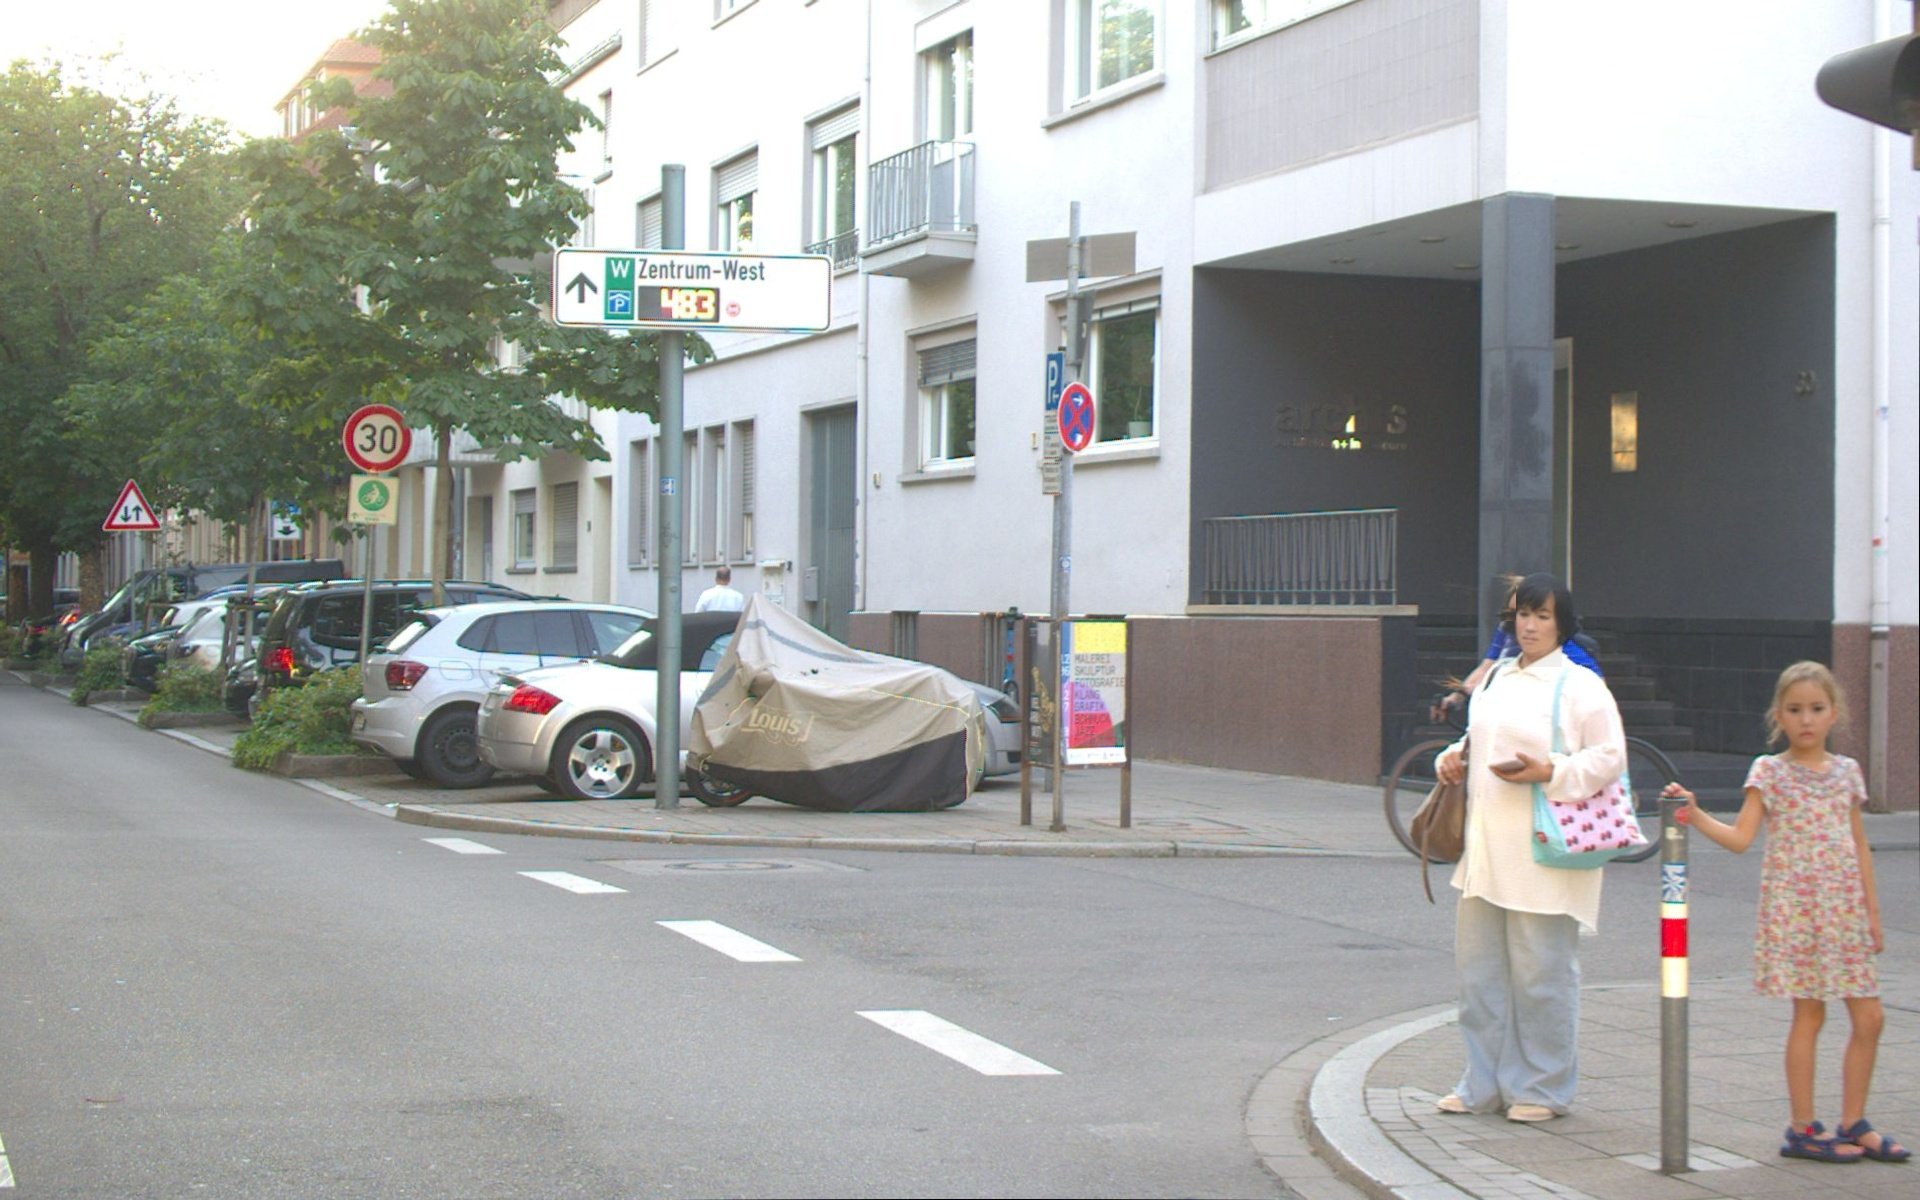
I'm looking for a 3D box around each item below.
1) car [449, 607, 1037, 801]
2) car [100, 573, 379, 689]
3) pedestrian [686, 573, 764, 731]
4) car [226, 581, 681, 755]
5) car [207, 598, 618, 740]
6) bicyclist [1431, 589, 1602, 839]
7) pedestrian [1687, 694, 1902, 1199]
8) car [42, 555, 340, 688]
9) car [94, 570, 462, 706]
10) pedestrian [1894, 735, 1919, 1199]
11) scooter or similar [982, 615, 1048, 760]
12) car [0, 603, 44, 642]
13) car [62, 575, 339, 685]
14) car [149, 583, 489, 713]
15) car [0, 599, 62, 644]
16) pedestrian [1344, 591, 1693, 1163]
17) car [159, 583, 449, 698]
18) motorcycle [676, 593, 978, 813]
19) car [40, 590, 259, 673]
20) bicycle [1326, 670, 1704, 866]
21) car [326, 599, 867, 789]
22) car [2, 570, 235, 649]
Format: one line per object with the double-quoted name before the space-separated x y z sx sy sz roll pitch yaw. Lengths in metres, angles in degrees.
"car" -1.612 0.735 25.037 3.986 1.328 1.794 1 0 -15
"car" -11.203 0.462 53.401 3.964 1.573 1.852 -3 1 -19
"pedestrian" -2.704 0.593 39.479 0.697 1.789 0.881 0 0 -18
"car" -4.951 0.653 33.452 4.108 1.612 1.961 1 0 -18
"car" -6.182 0.747 38.746 4.314 1.491 1.794 -1 0 -19
"bicyclist" 3.125 0.641 19.340 0.774 1.359 0.674 2 -2 -5
"pedestrian" 2.137 0.882 8.832 0.488 1.257 0.451 -1 0 11
"car" -13.131 0.346 58.691 4.688 2.004 2.038 -3 1 -19
"car" -9.241 0.496 46.543 4.589 1.573 1.945 -3 1 -19
"pedestrian" 2.687 0.928 8.777 0.544 1.141 0.492 -1 0 17
"scooter or similar" 0.477 0.757 30.231 0.345 1.235 1.421 1 0 -8
"car" -36.069 0.832 127.529 3.875 1.435 1.848 -1 0 -21
"car" -12.451 0.471 56.339 4.154 1.573 1.970 -3 1 -20
"car" -8.245 0.593 44.151 4.073 1.424 1.818 -3 1 -16
"car" -32.015 0.723 115.292 3.482 1.447 1.900 -1 0 -20
"pedestrian" 1.554 0.736 9.575 0.720 1.506 0.598 -1 1 43
"car" -9.380 0.564 49.119 3.792 1.418 1.698 -3 1 -19
"motorcycle" -0.881 0.655 22.293 1.907 1.387 1.000 0 0 -5
"car" -16.092 0.621 68.250 3.986 1.433 1.927 -3 1 -20
"bicycle" 3.109 0.938 19.337 1.970 1.026 0.674 2 -2 -5
"car" -2.913 0.730 27.363 3.986 1.433 1.794 1 0 -18
"car" -17.234 0.180 70.394 4.399 1.389 1.886 -3 1 -20
